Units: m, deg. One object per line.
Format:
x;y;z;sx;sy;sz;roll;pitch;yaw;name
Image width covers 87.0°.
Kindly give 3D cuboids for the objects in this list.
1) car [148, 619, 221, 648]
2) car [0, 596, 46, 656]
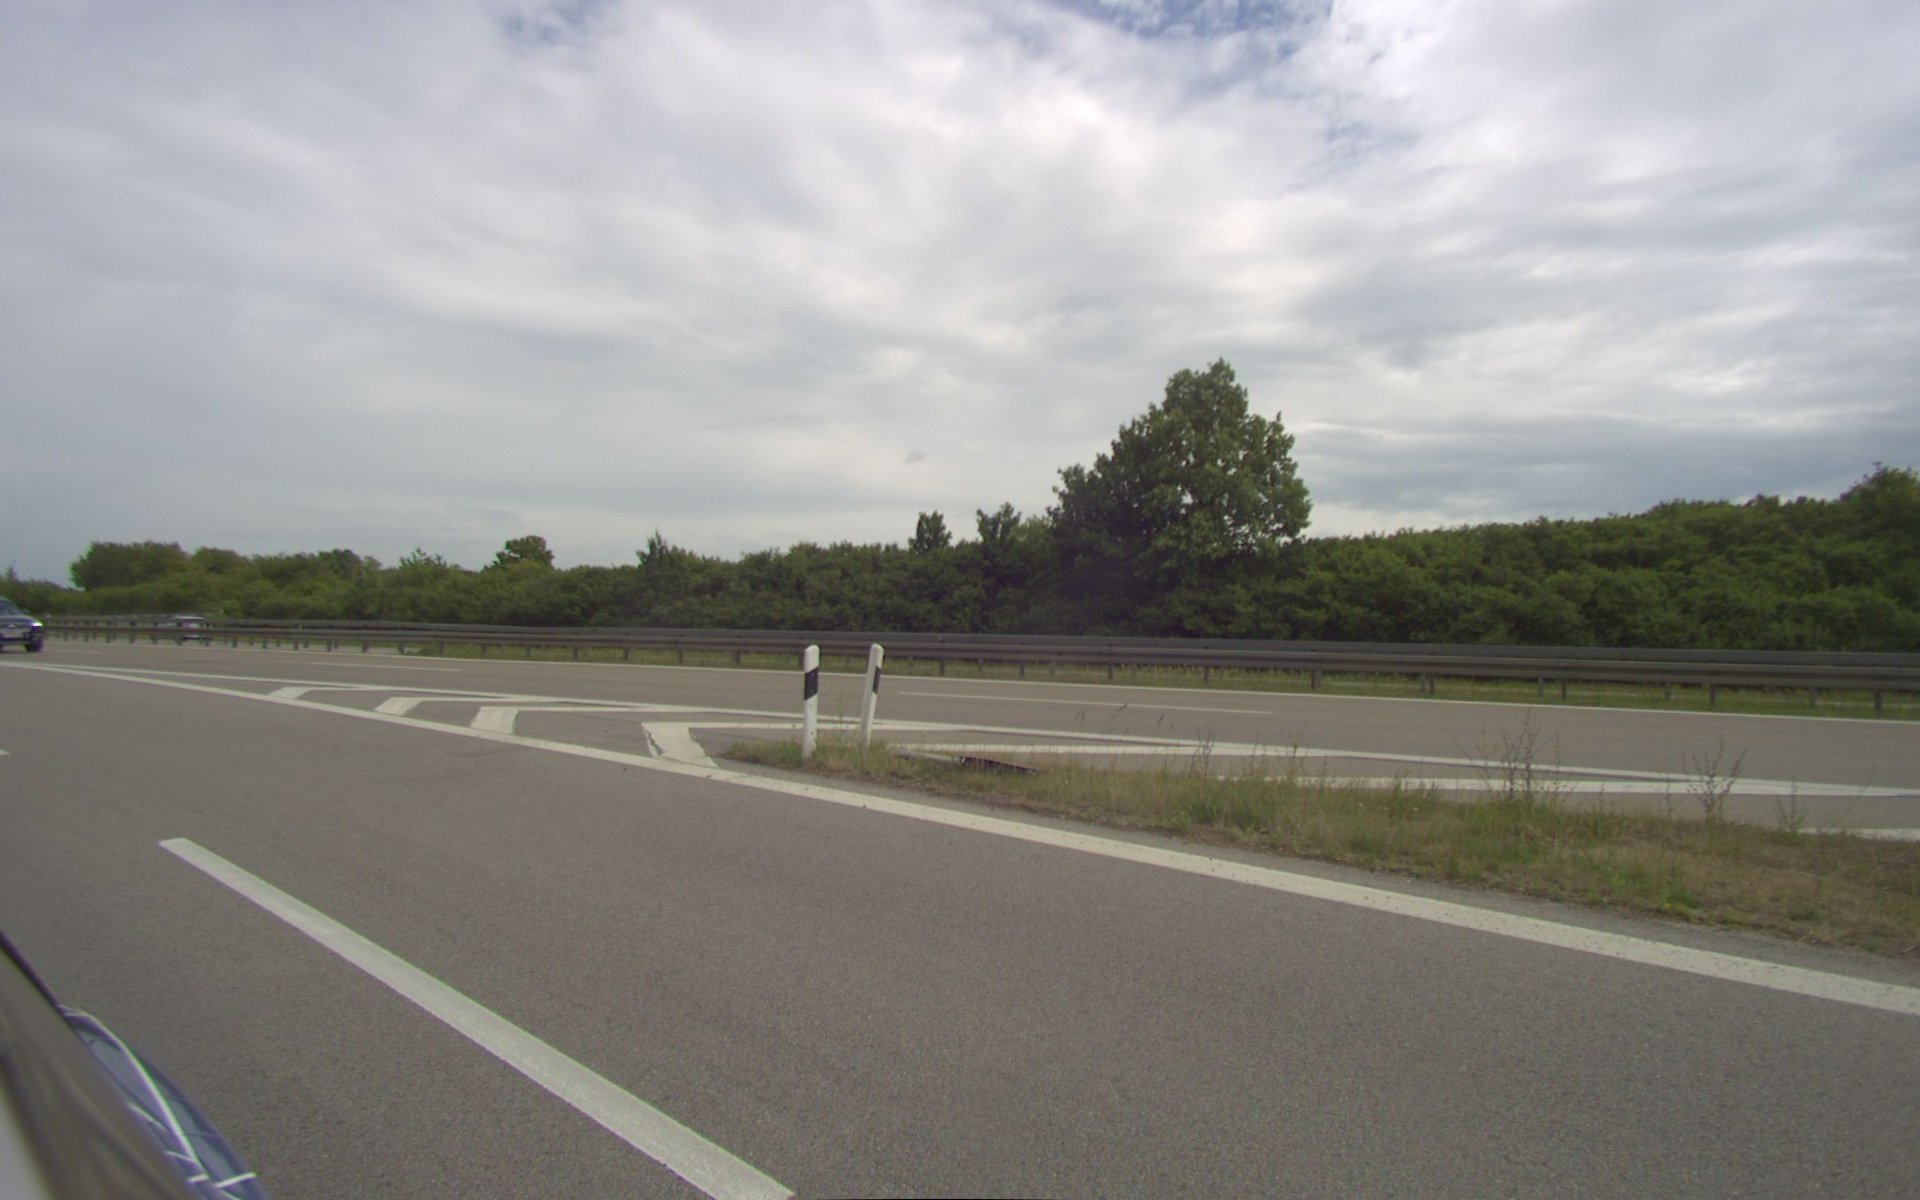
-44.084;1.876;57.520;3.981;1.608;1.792;0;-1;28;car
-30.915;0.791;31.666;4.903;1.775;1.980;0;-1;29;car
